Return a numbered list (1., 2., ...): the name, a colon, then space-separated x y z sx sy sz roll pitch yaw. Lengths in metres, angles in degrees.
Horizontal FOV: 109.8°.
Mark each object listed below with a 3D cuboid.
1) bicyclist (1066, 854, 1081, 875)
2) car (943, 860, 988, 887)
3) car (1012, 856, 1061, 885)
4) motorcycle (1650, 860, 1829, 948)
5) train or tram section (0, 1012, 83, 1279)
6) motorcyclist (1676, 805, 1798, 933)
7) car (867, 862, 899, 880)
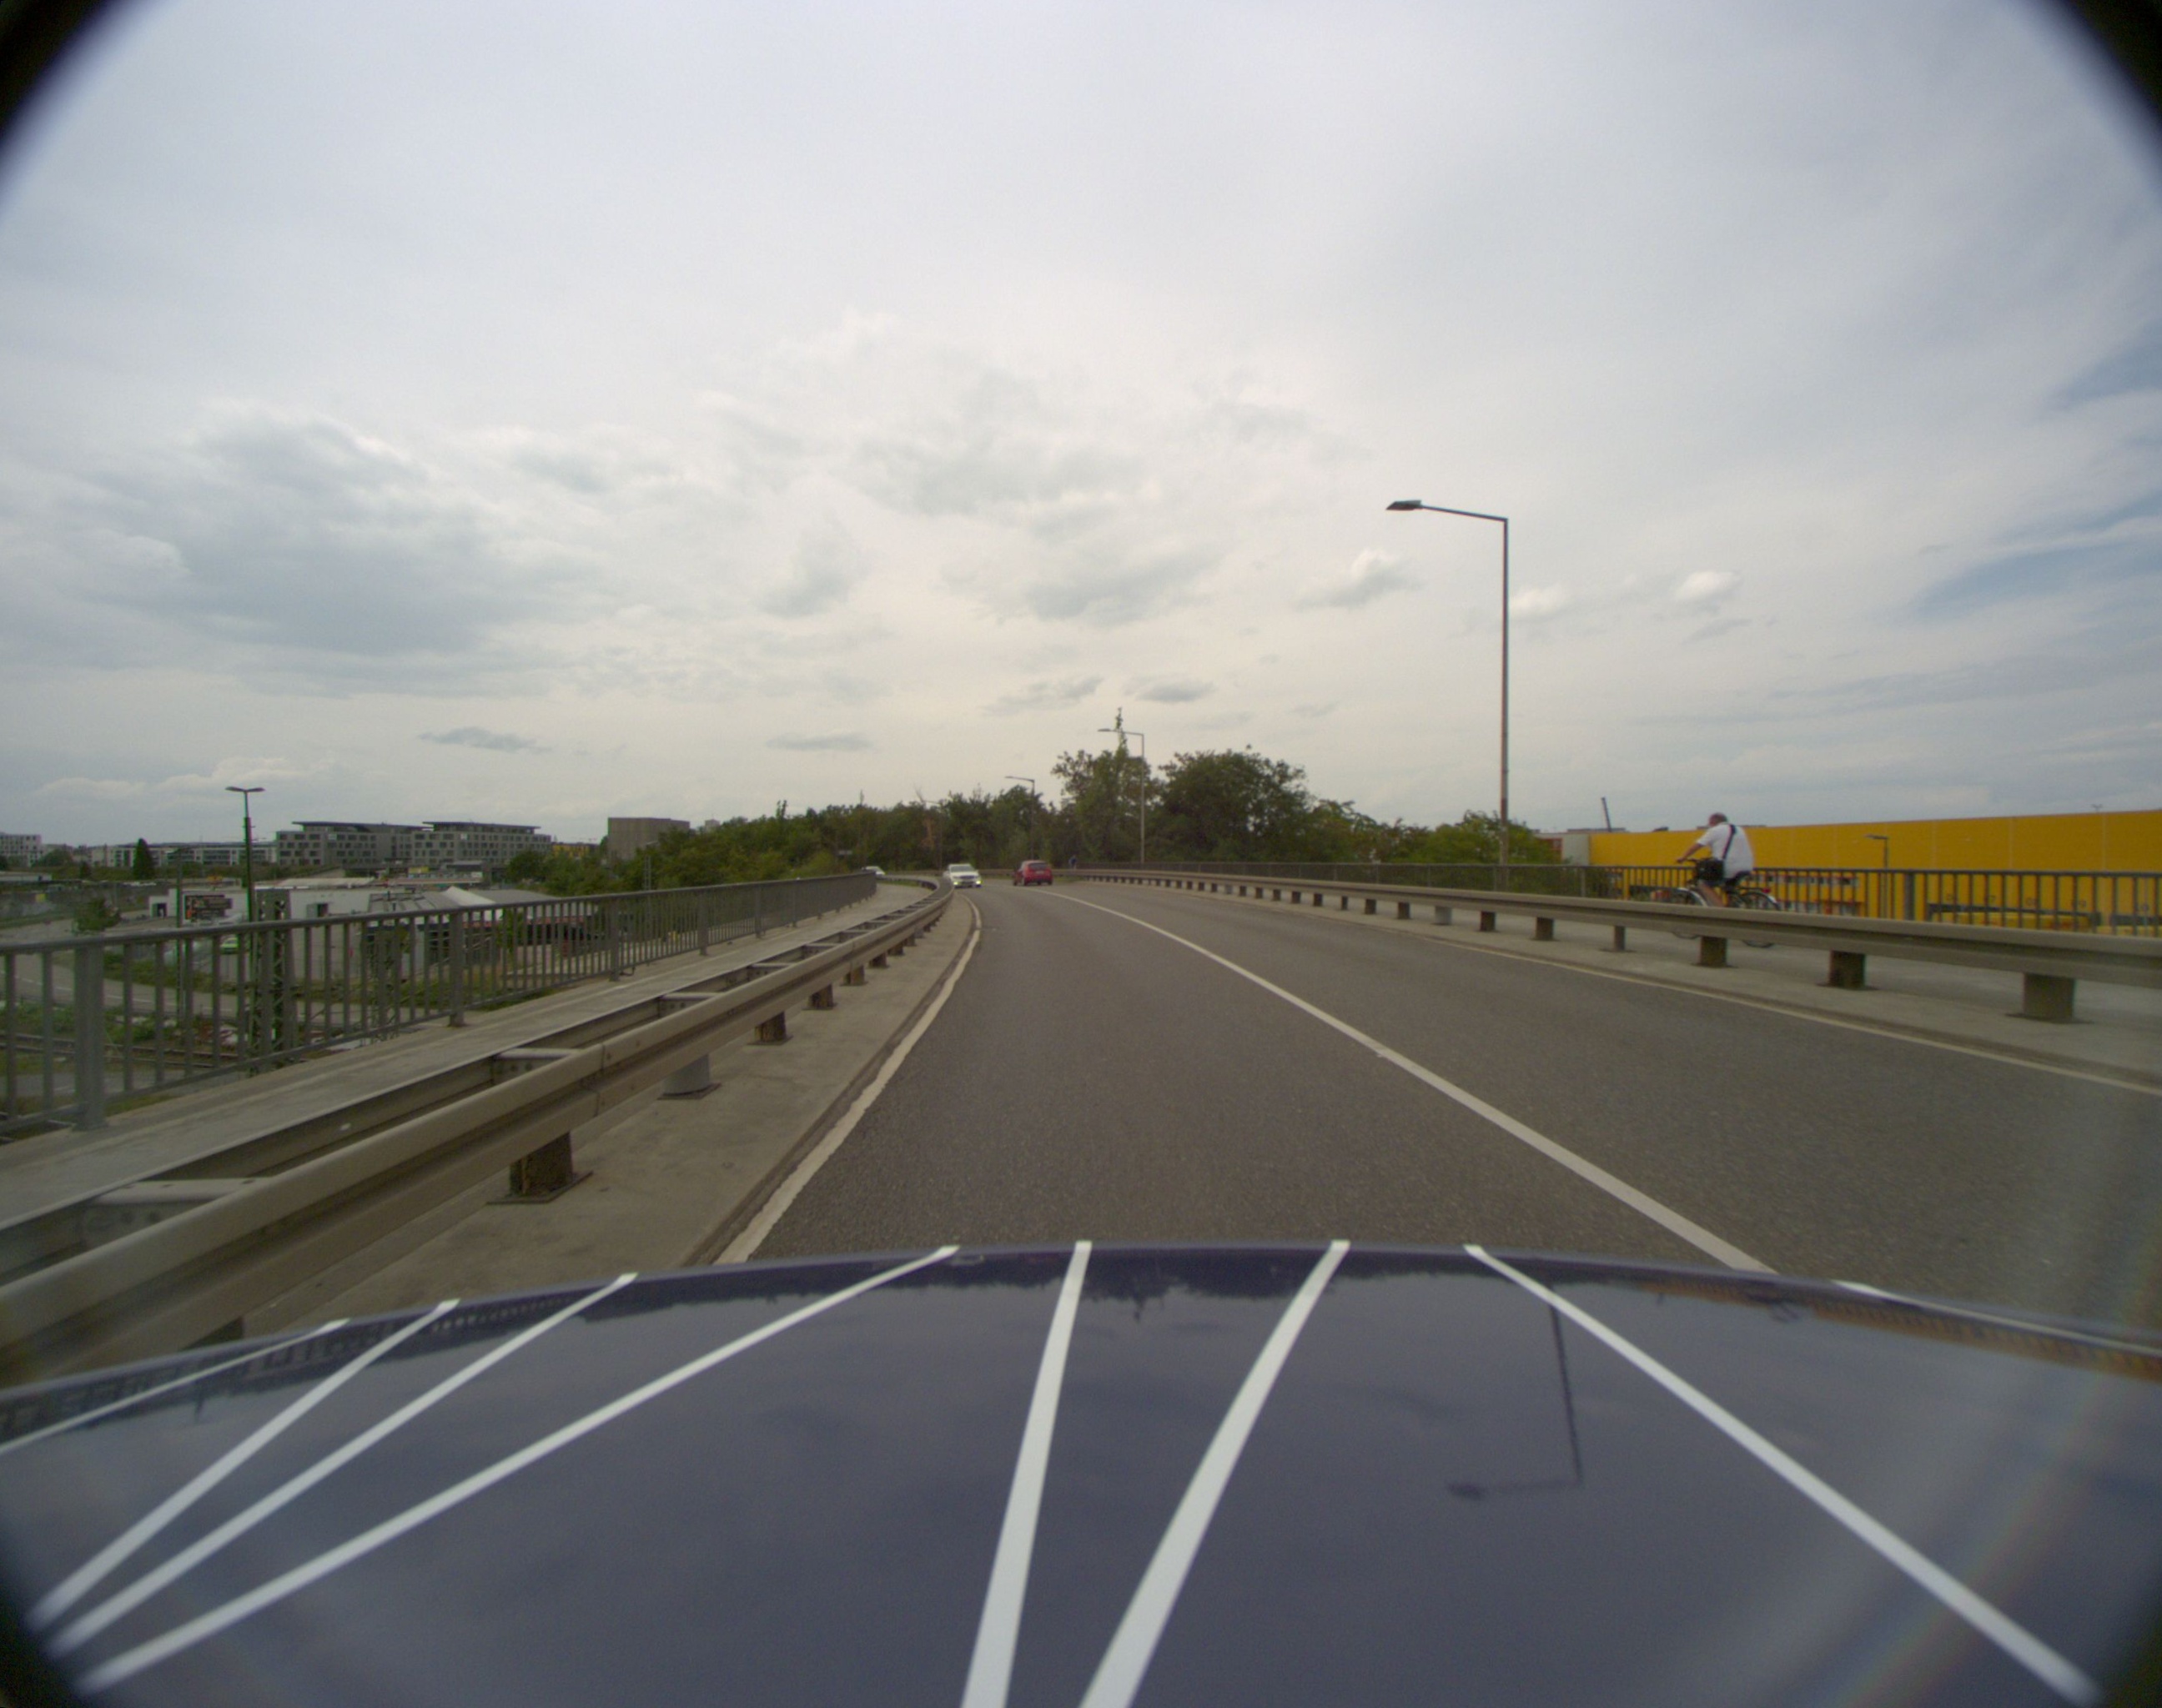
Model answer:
1. bicyclist: -0.530 0.764 53.690 0.713 1.436 0.746 -3 1 -23
2. car: -6.991 1.135 45.594 1.940 1.448 3.880 -3 0 -19
3. car: -2.638 0.893 43.816 1.766 1.483 3.993 -3 1 -19
4. motorcycle: 8.378 0.590 9.784 0.627 0.958 1.839 -2 1 -3
5. train or tram section: -30.295 6.689 16.774 13.632 5.543 3.654 -2 1 9
6. motorcyclist: 8.311 0.174 9.660 0.812 1.521 0.824 -2 1 -4
7. car: -20.283 1.776 77.751 1.966 1.694 4.423 -3 0 -30
